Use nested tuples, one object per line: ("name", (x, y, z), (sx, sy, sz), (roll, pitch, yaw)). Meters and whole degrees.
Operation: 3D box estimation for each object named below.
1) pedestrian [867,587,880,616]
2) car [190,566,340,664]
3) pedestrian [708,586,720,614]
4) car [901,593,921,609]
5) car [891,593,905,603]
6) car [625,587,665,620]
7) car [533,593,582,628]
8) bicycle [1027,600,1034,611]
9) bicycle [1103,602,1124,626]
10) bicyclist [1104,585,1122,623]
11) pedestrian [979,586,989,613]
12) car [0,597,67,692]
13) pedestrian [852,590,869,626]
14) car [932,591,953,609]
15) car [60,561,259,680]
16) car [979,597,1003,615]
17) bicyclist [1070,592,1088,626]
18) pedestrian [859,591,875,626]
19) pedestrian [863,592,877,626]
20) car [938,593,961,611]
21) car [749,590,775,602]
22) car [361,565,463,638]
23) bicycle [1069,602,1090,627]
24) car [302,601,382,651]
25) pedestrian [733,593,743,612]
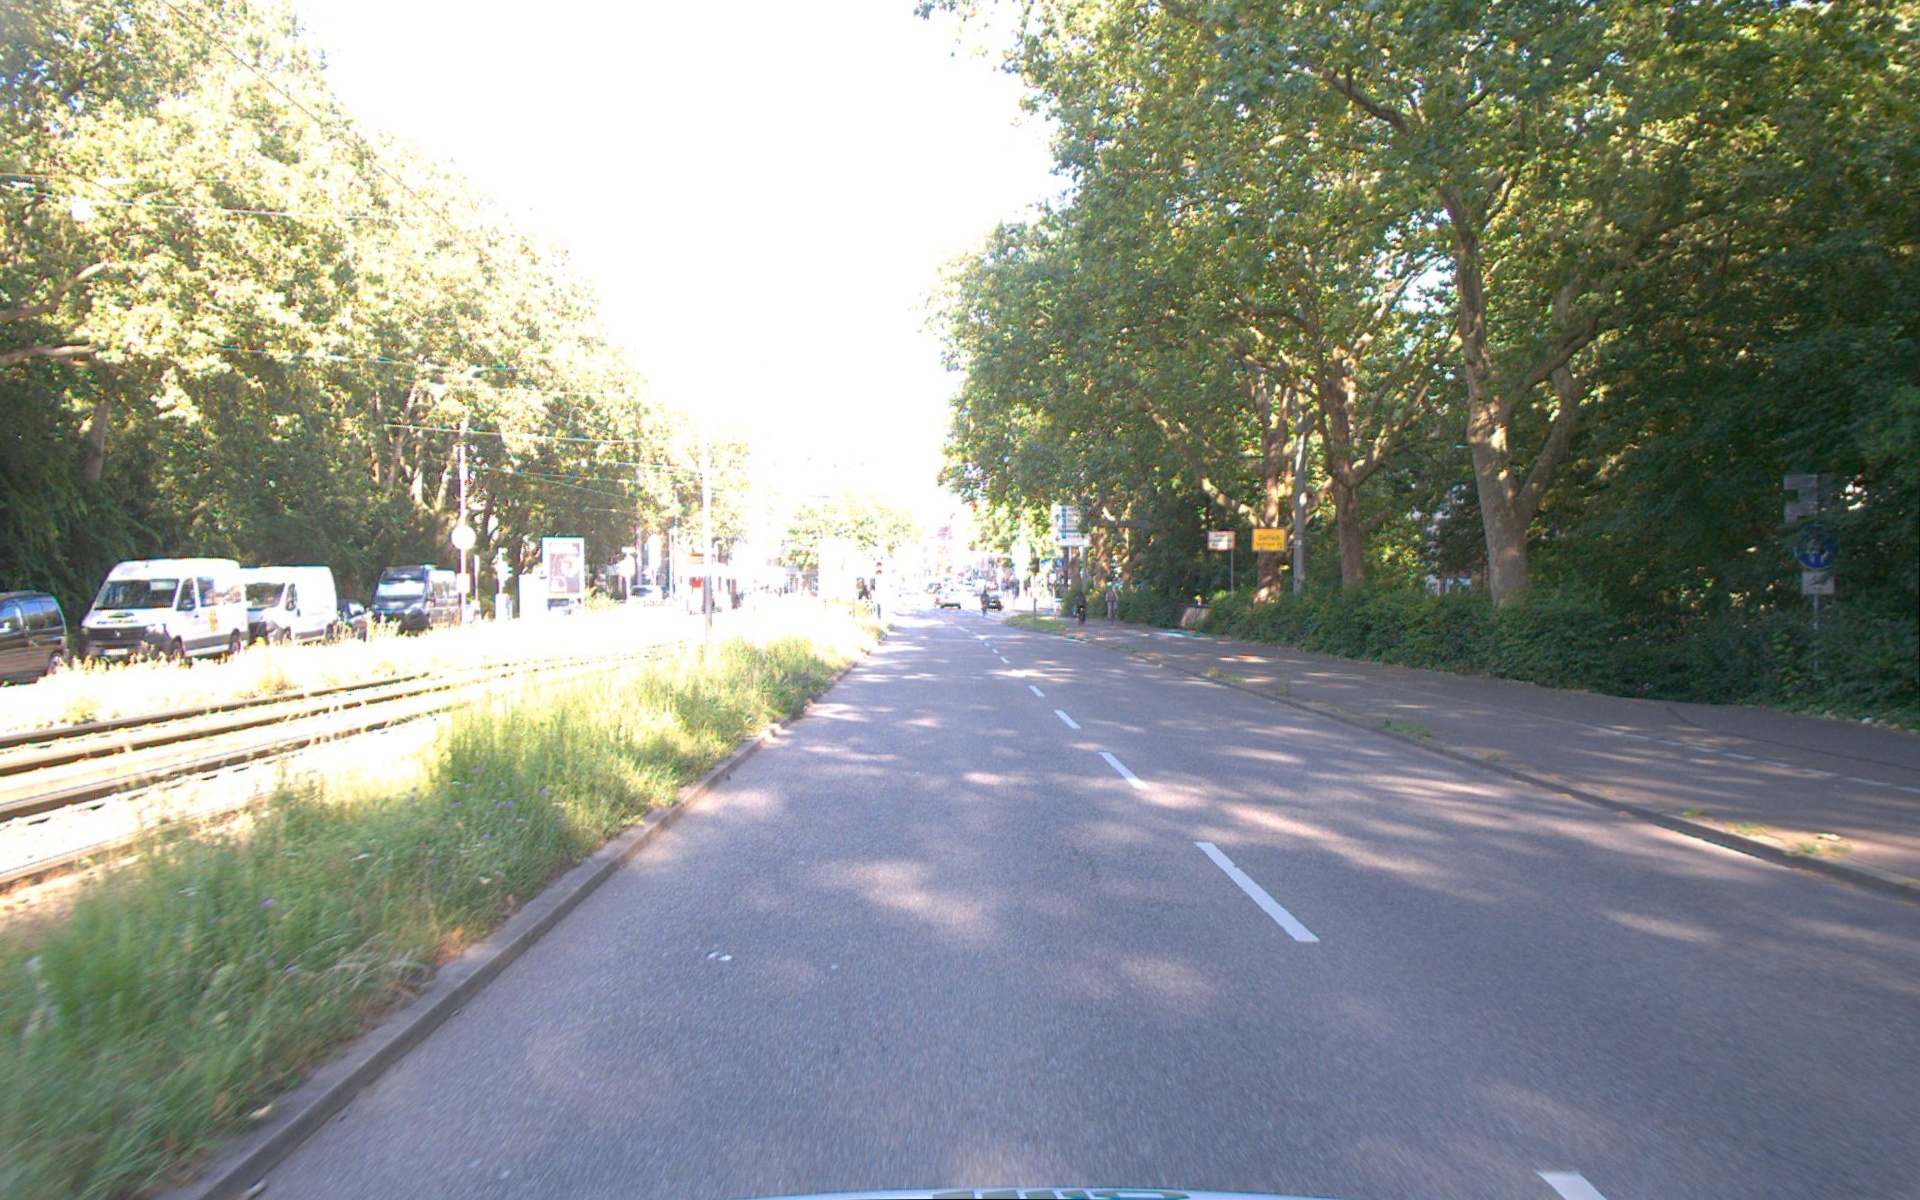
("pedestrian", (-5.152, 0.084, 98.902), (0.727, 1.724, 0.791), (2, 0, -2))
("car", (-19.806, 0.409, 47.474), (2.141, 2.565, 6.264), (-2, 0, -5))
("pedestrian", (-15.727, -0.002, 105.702), (0.635, 1.803, 0.650), (1, -1, 0))
("car", (-4.729, 0.087, 158.808), (1.772, 1.478, 3.998), (1, 0, -3))
("car", (-9.423, -0.294, 251.366), (1.756, 1.537, 4.002), (0, 0, 4))
("car", (-21.879, 0.249, 115.042), (2.026, 2.161, 5.086), (-2, 0, -4))
("car", (-20.900, 0.542, 85.904), (1.866, 1.680, 3.968), (-2, 0, -5))
("bicycle", (6.834, 0.514, 160.489), (0.488, 1.093, 1.799), (1, -1, -2))
("bicycle", (7.138, 0.643, 77.067), (0.685, 1.127, 1.928), (0, 0, -4))
("bicyclist", (7.141, 0.171, 77.069), (0.685, 1.758, 1.079), (0, 0, -4))
("pedestrian", (1.643, -0.043, 114.320), (0.643, 1.904, 0.677), (0, 0, -3))
("car", (-18.762, 0.859, 31.375), (1.705, 1.758, 3.879), (-2, 0, -4))
("pedestrian", (-4.497, 0.374, 74.885), (0.510, 1.595, 0.507), (-2, 0, 28))
("car", (-1.664, 0.035, 157.089), (1.764, 1.666, 4.043), (1, 0, -3))
("car", (-19.041, 0.466, 39.711), (2.140, 2.565, 6.045), (-2, 0, -4))
("car", (2.687, 0.542, 144.778), (1.764, 1.464, 4.043), (2, 0, -3))
("bicyclist", (5.408, 0.403, 75.039), (0.751, 1.539, 0.650), (0, 0, -3))
("pedestrian", (-4.238, 0.383, 75.303), (0.510, 1.595, 0.507), (-2, 0, 28))
("pedestrian", (-4.123, 0.419, 76.090), (0.578, 1.546, 0.514), (-2, 0, -2))
("car", (-0.929, 0.169, 149.667), (1.890, 1.498, 4.852), (1, 0, -2))
("car", (-28.281, -0.609, 236.392), (1.759, 1.677, 4.006), (0, 0, 26))
("car", (-20.621, 0.077, 62.551), (2.140, 2.565, 6.027), (-2, 0, -4))
("bicycle", (5.407, 0.655, 75.034), (0.751, 1.127, 1.799), (0, 0, -3))
("car", (-20.338, 0.835, 54.571), (1.620, 1.539, 3.262), (-2, 0, -5))
("pedestrian", (-16.300, 0.157, 121.405), (0.656, 1.347, 0.756), (-3, 0, -4))
